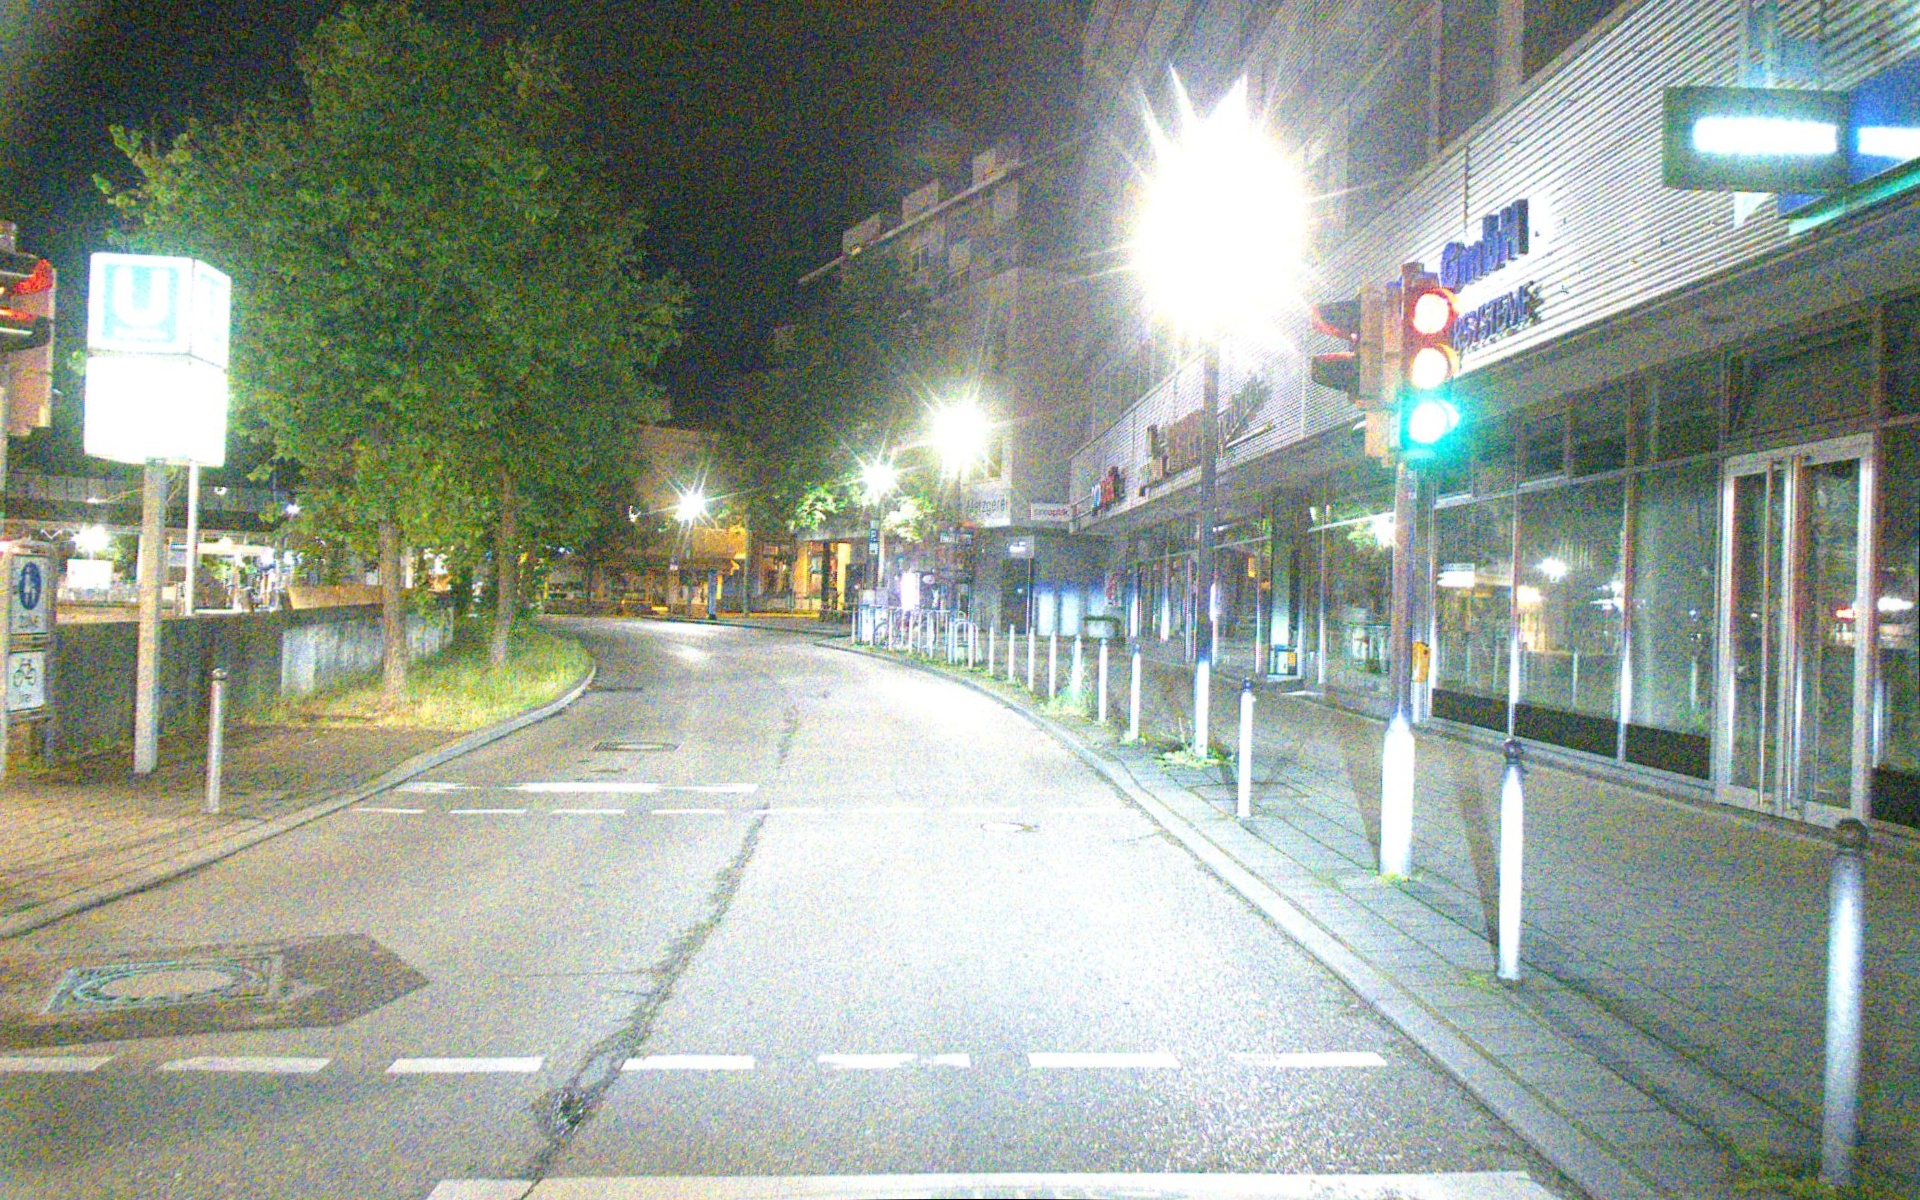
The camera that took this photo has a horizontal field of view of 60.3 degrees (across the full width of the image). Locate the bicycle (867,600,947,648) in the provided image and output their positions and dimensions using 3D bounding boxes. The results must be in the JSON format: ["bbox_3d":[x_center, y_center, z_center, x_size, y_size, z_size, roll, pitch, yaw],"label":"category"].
[{"bbox_3d":[-1.222,0.561,38.438,1.728,1.081,0.650,1,1,-27],"label":"bicycle"}]

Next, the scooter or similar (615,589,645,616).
[{"bbox_3d":[-16.081,0.129,80.567,1.233,1.248,0.592,3,0,-30],"label":"scooter or similar"}]
